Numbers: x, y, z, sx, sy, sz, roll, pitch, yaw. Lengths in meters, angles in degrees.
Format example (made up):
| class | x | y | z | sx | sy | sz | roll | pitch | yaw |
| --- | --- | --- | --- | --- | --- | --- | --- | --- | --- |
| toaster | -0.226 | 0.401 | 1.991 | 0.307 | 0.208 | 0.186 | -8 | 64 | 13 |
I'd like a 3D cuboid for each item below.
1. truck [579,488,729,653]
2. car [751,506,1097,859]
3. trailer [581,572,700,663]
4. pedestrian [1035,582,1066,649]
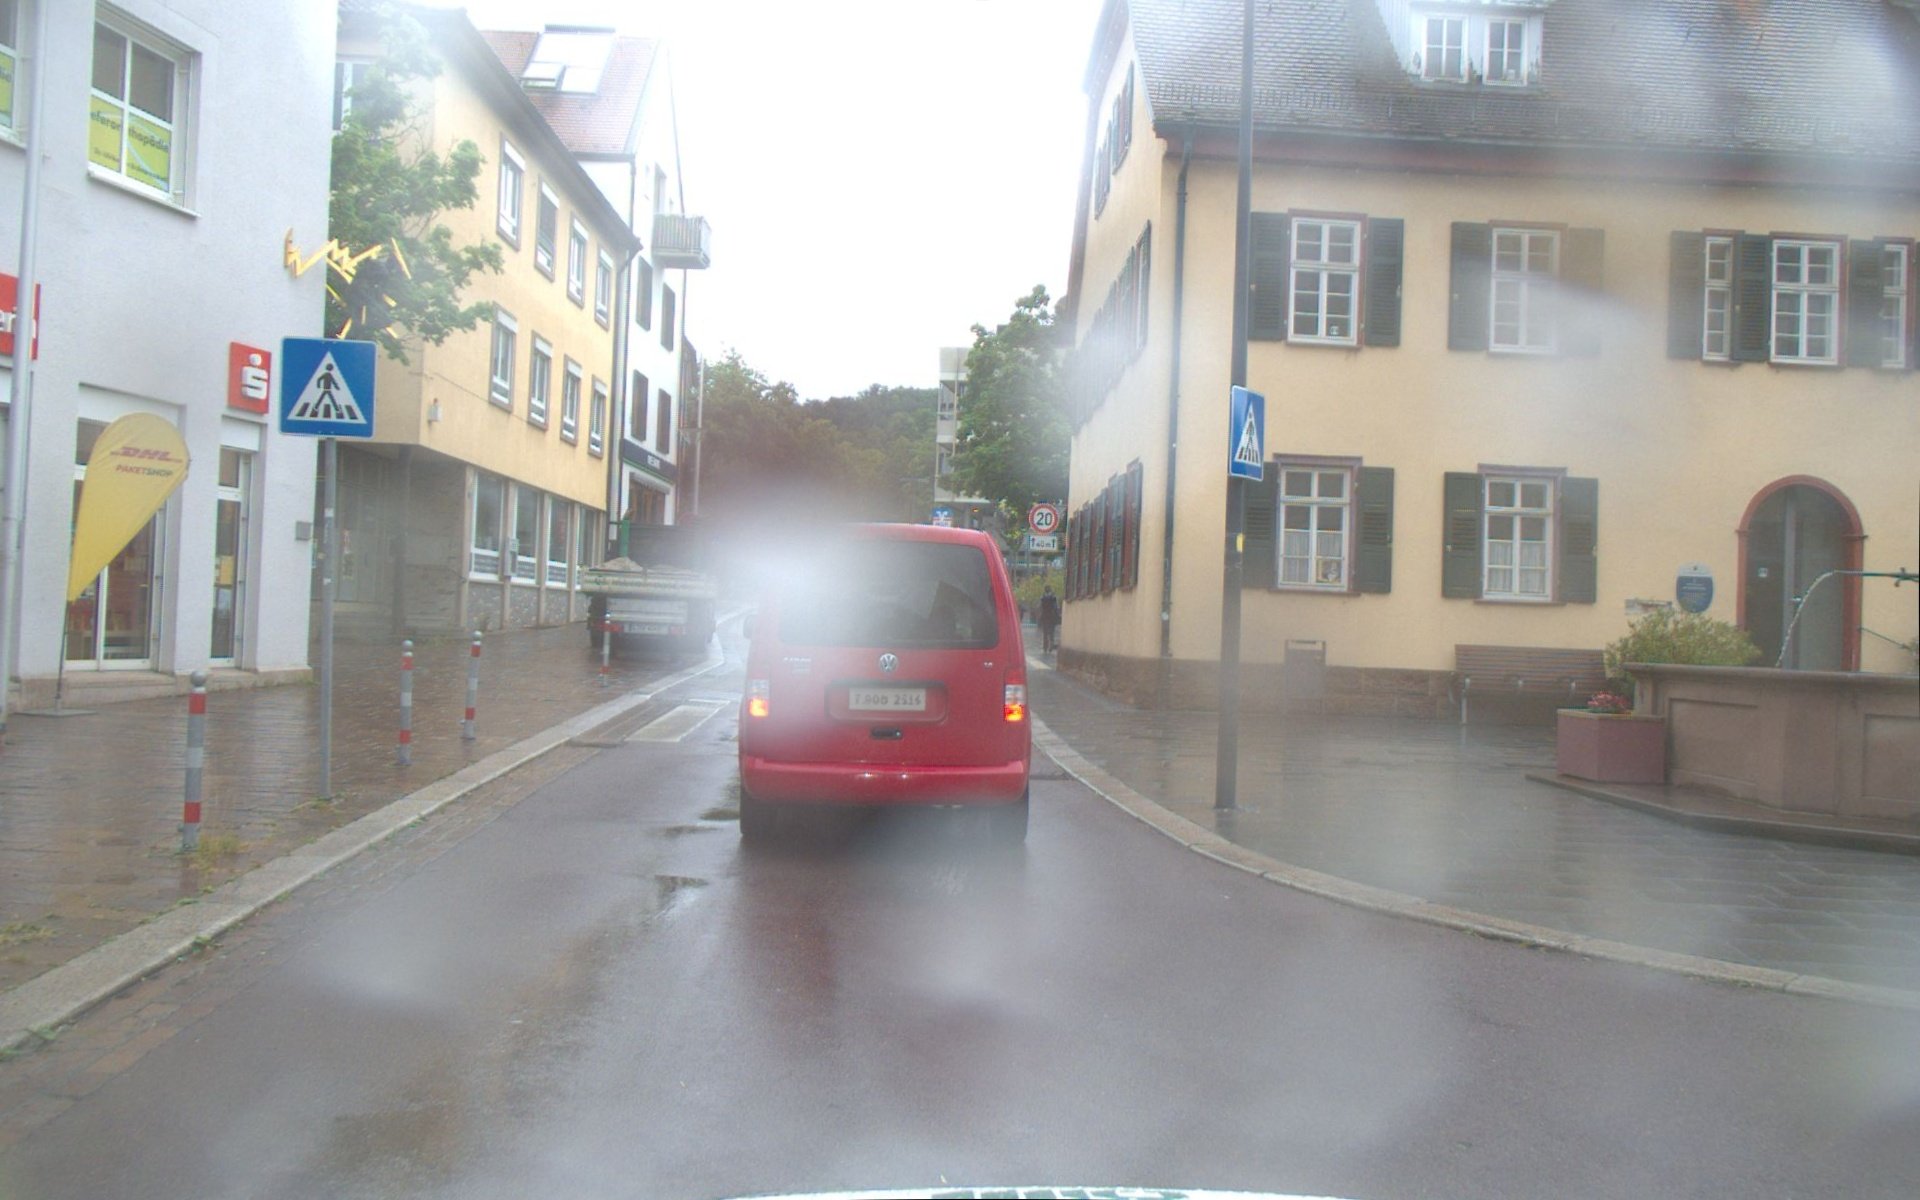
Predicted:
| class | x | y | z | sx | sy | sz | roll | pitch | yaw |
| --- | --- | --- | --- | --- | --- | --- | --- | --- | --- |
| truck | -5.845 | -0.599 | 32.415 | 2.426 | 2.843 | 6.590 | 1 | 1 | -7 |
| car | -0.386 | 0.435 | 10.907 | 1.826 | 1.862 | 4.180 | 1 | 0 | -6 |
| trailer | -5.276 | 0.257 | 27.599 | 1.695 | 1.370 | 3.156 | 1 | 1 | -7 |
| pedestrian | 2.262 | 0.376 | 41.467 | 0.713 | 1.645 | 0.694 | 1 | 0 | 0 |
